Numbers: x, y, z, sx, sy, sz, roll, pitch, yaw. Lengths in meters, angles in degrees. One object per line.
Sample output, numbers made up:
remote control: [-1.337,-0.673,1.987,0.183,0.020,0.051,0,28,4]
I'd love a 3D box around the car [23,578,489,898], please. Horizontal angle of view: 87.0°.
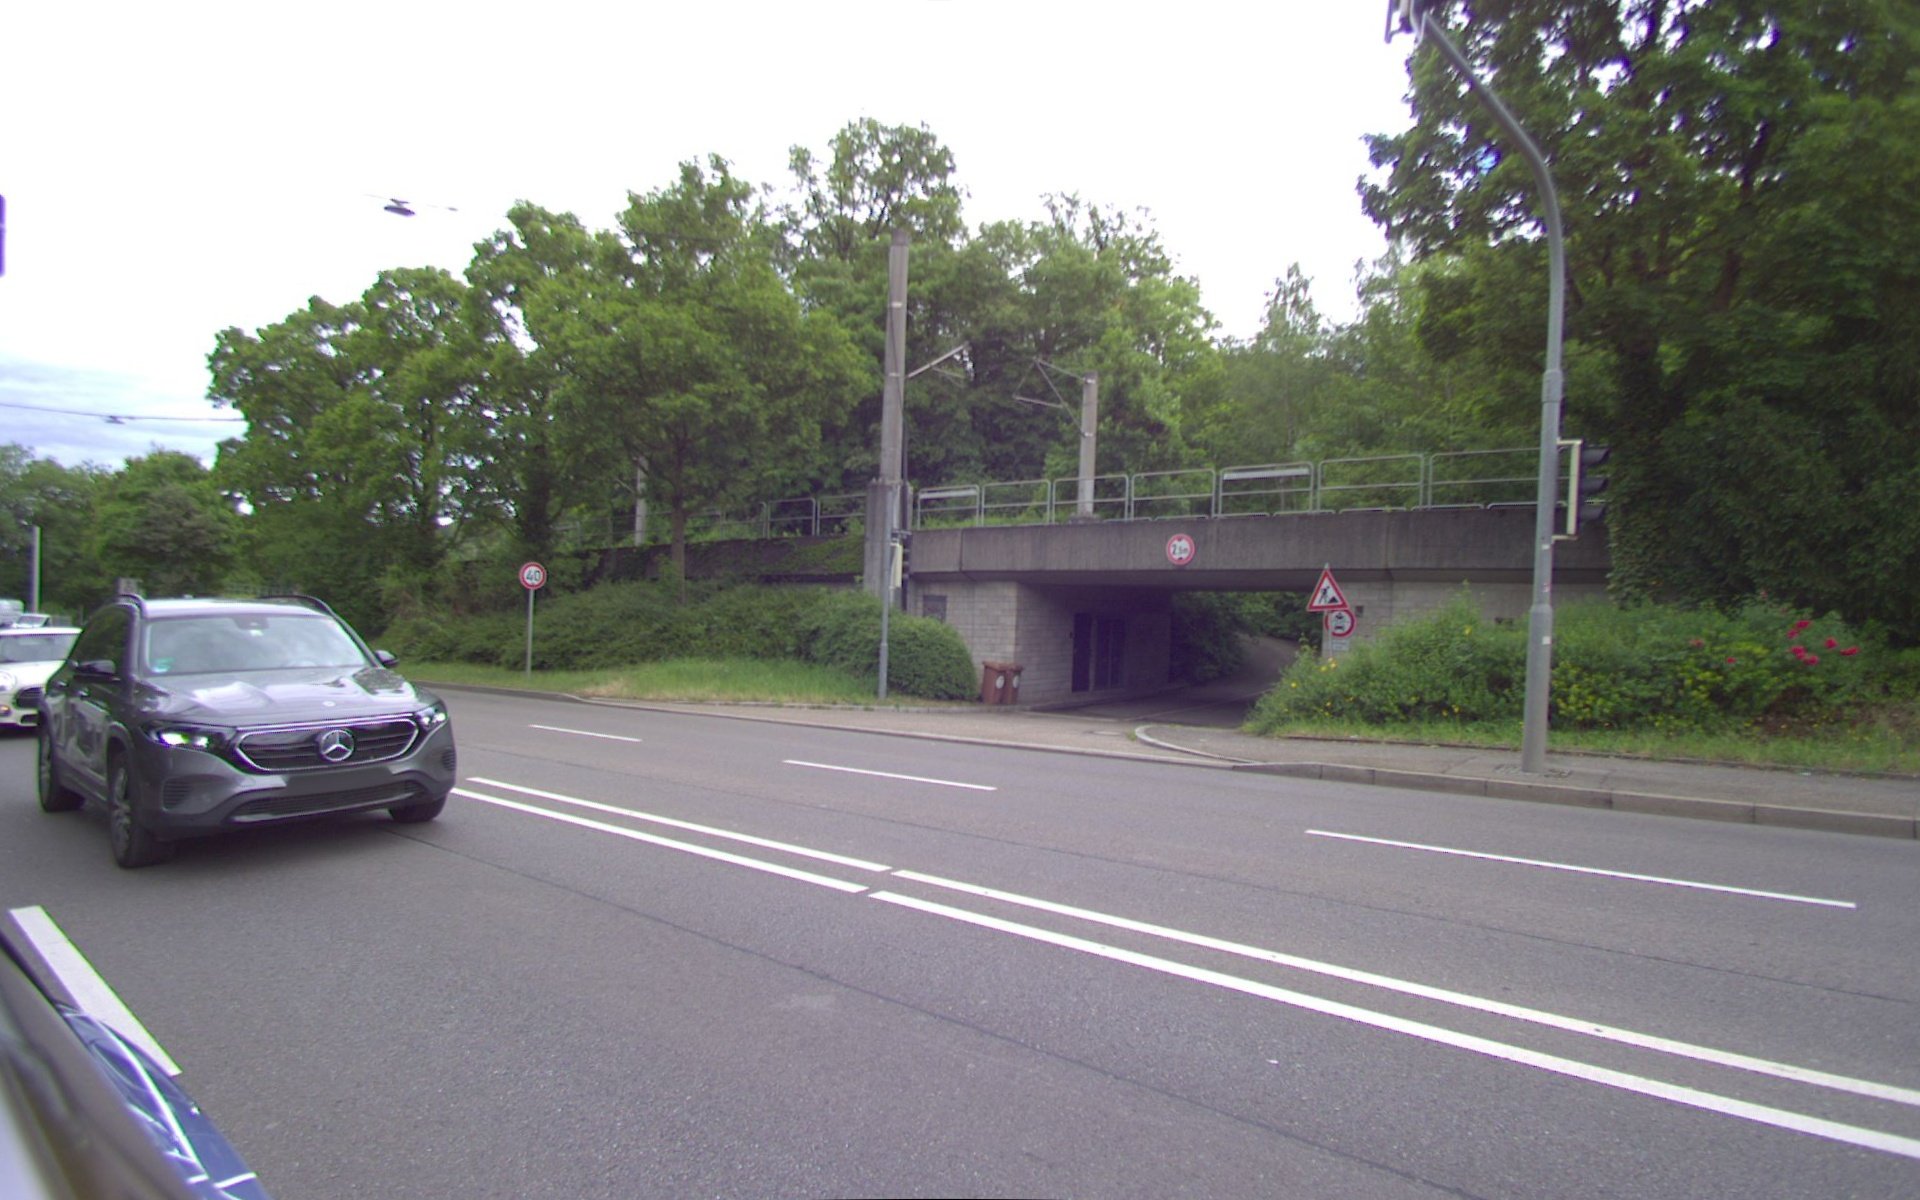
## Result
car: [-5.326,0.768,7.414,4.356,1.664,1.830,-1,-2,41]

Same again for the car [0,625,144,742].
car: [-12.945,1.086,14.222,3.731,1.435,1.667,-1,-2,41]

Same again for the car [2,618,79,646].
car: [-75.580,2.619,83.327,2.247,2.217,6.478,0,-1,-18]

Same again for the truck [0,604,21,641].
truck: [-83.843,1.873,86.627,2.164,3.180,6.670,2,-3,-17]

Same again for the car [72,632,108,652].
car: [-84.235,4.067,98.018,1.748,1.814,4.012,2,-3,-28]

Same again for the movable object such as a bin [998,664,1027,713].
movable object such as a bin: [1.188,2.001,22.961,0.503,1.071,0.414,-1,-3,36]

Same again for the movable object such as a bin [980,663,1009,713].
movable object such as a bin: [0.770,1.940,22.404,0.503,1.071,0.414,-1,-3,36]
